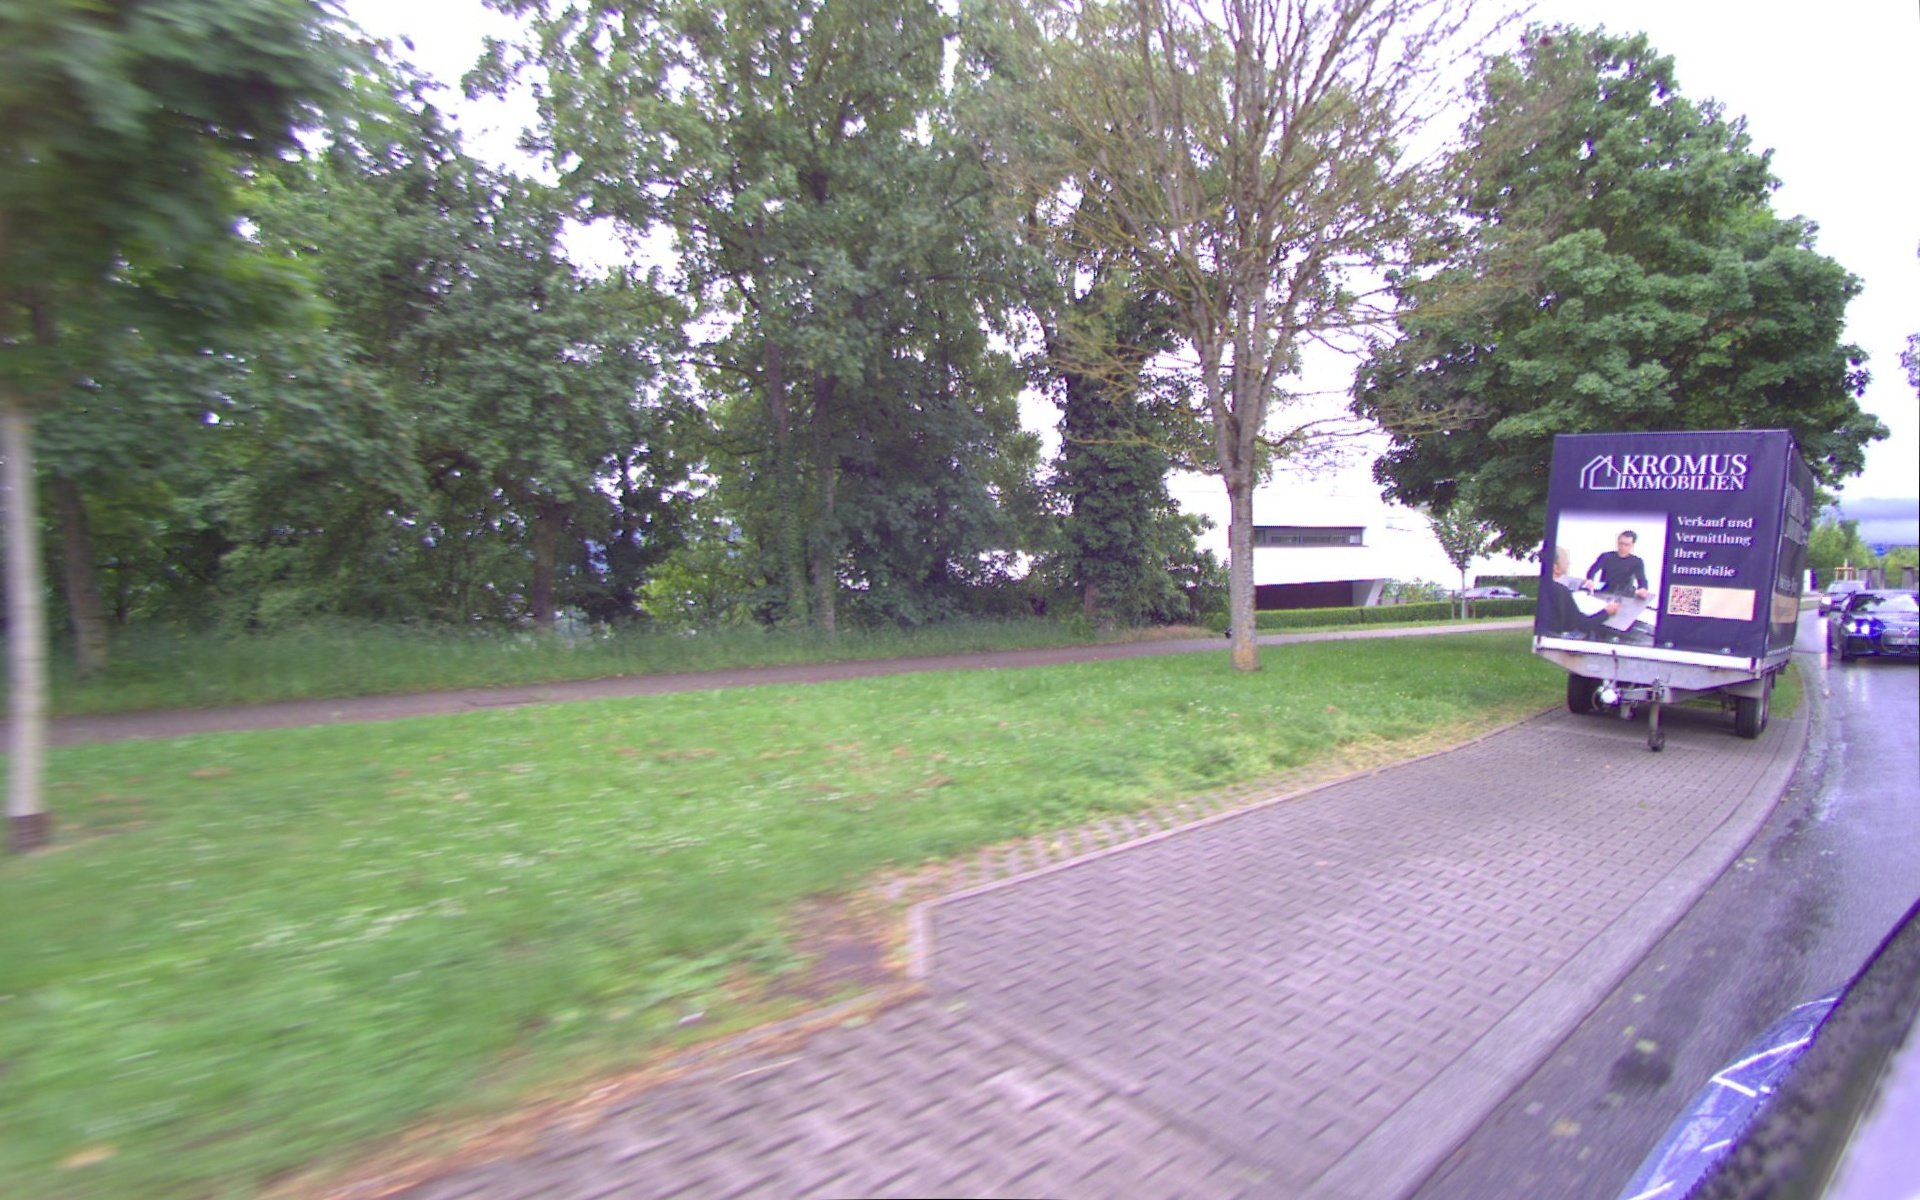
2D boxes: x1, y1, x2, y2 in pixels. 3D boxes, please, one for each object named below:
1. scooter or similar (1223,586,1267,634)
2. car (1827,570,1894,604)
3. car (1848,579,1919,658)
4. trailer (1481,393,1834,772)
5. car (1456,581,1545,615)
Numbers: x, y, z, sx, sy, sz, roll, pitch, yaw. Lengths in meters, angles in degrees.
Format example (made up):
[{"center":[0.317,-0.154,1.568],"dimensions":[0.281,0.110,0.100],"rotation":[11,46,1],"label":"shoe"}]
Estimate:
[{"center":[7.233,0.242,25.655],"dimensions":[1.279,1.161,0.463],"rotation":[-1,2,-43],"label":"scooter or similar"},{"center":[39.895,-0.594,44.916],"dimensions":[1.920,1.400,4.248],"rotation":[-3,0,39],"label":"car"},{"center":[19.651,0.336,20.929],"dimensions":[1.810,1.486,3.914],"rotation":[-2,0,43],"label":"car"},{"center":[7.324,-0.251,10.304],"dimensions":[1.994,2.841,5.522],"rotation":[7,5,42],"label":"trailer"},{"center":[28.428,-0.119,53.260],"dimensions":[4.370,1.570,1.929],"rotation":[-2,0,-27],"label":"car"}]
